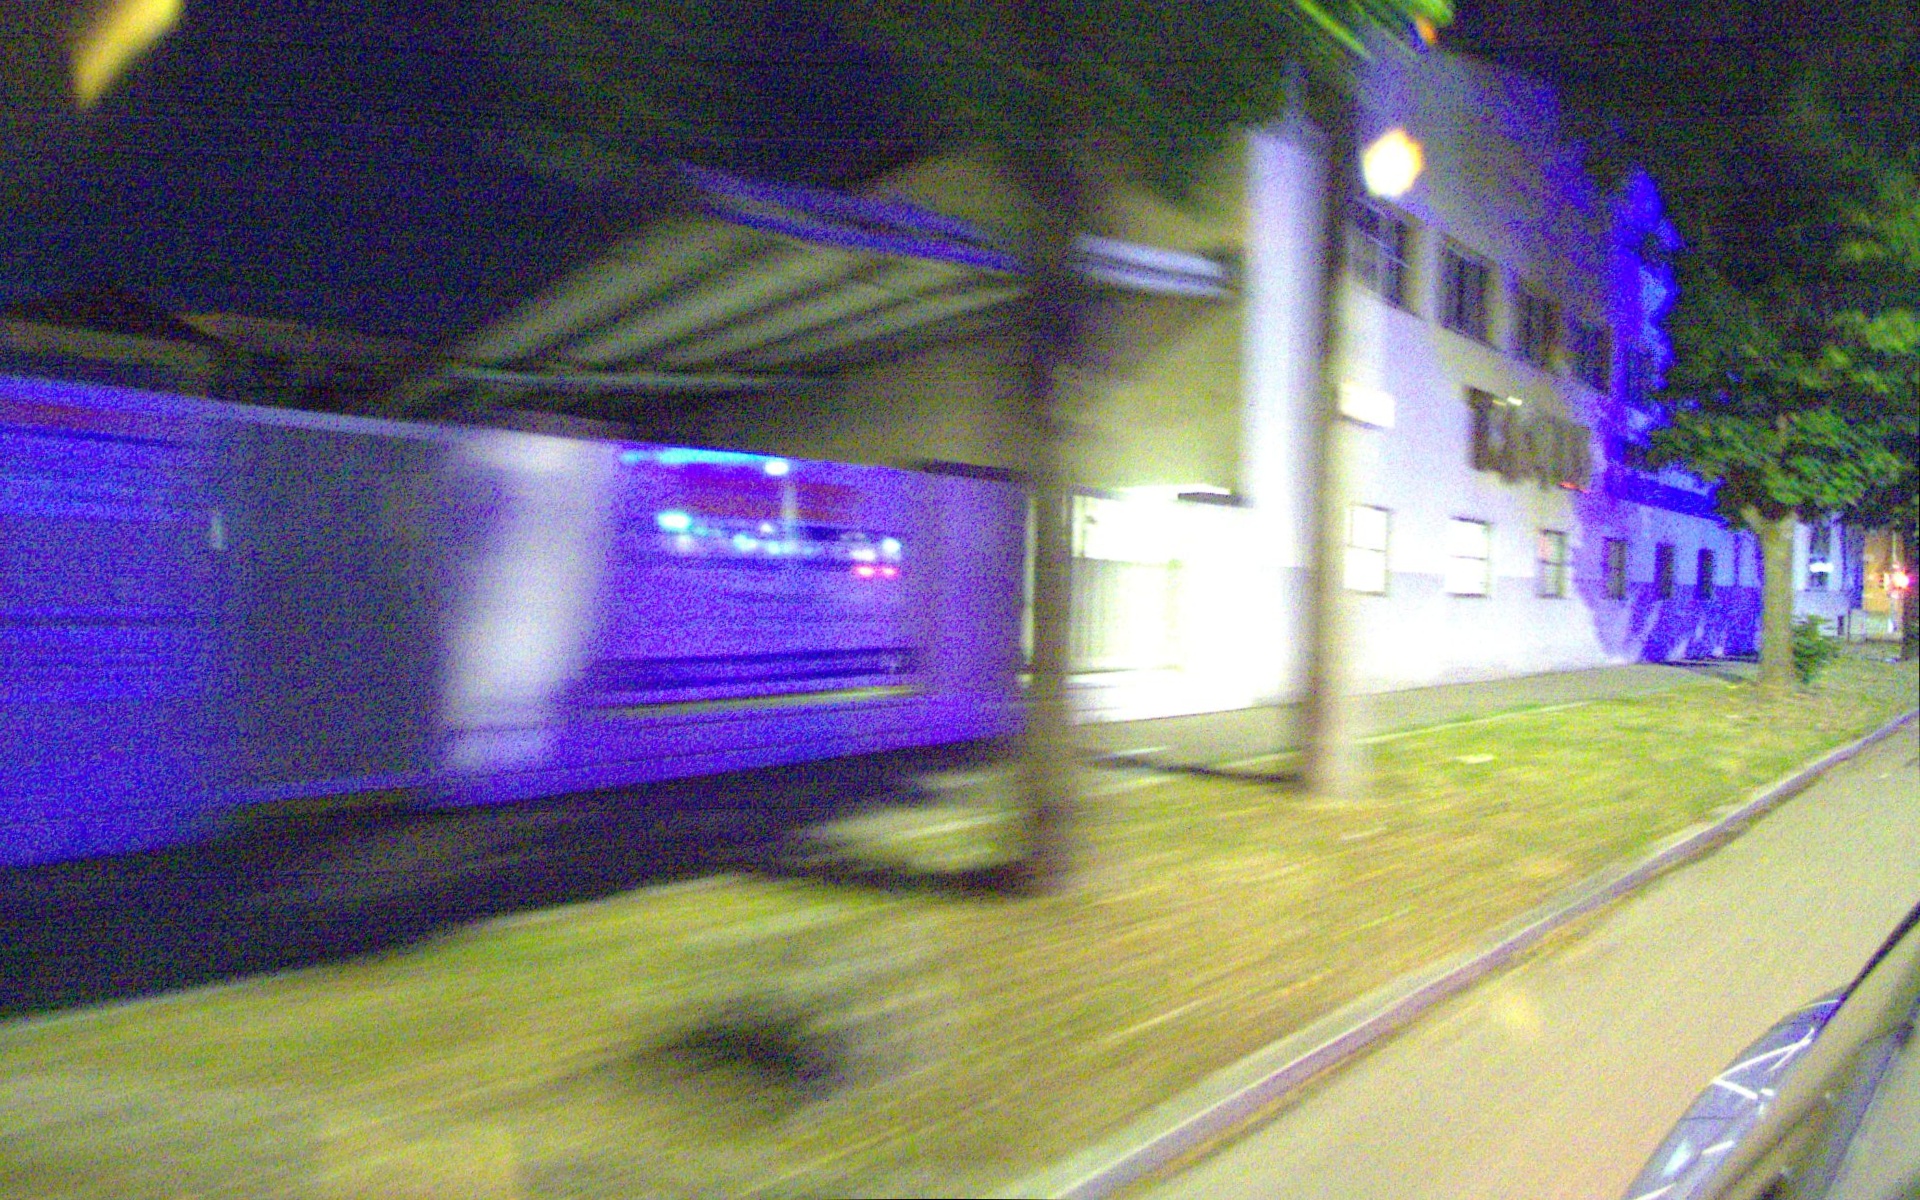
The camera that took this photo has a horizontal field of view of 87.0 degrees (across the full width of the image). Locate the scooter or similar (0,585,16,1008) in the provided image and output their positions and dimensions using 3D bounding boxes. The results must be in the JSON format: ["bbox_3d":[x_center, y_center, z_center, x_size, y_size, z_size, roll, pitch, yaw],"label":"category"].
[{"bbox_3d":[-3.670,0.593,2.524,1.878,1.218,0.548,-2,2,-41],"label":"scooter or similar"}]
